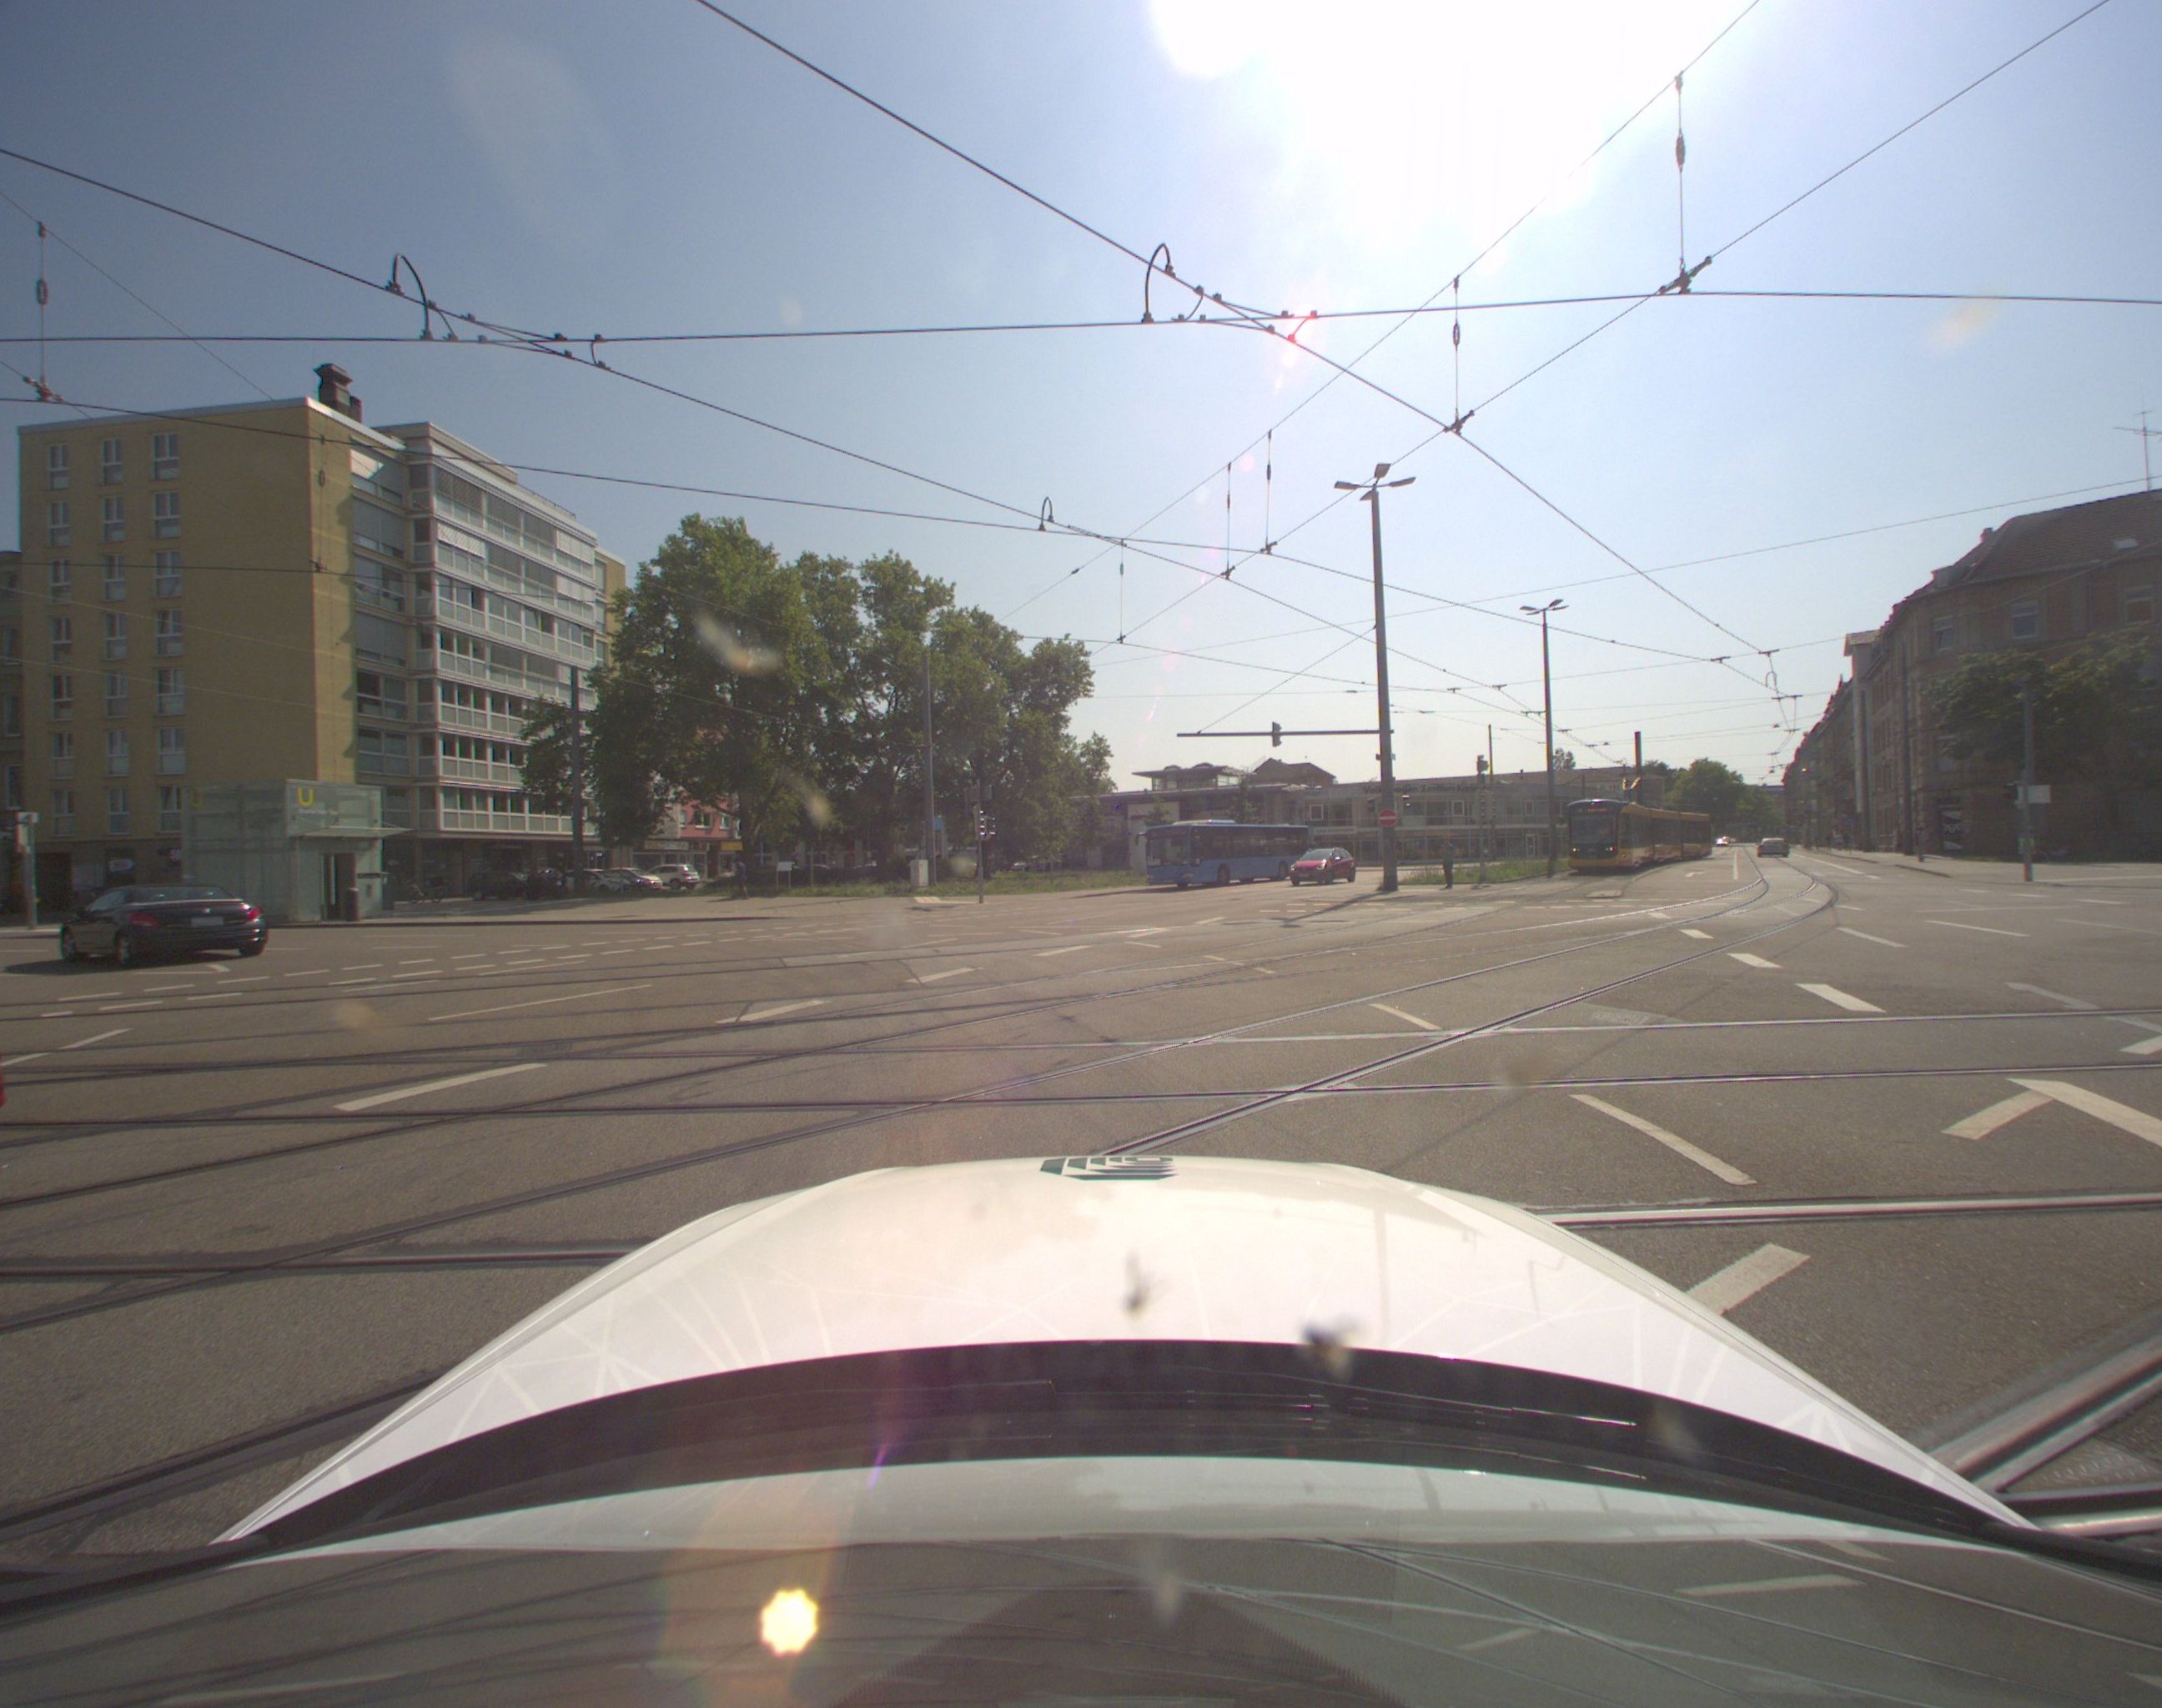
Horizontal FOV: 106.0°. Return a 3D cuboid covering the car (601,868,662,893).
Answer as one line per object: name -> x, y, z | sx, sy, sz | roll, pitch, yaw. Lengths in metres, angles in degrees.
car -> -28.152, 1.637, 51.039 | 3.073, 1.429, 1.405 | -2, 0, 5

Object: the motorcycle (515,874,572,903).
motorcycle -> -22.738, 1.453, 34.466 | 2.088, 1.137, 0.917 | -2, 0, 20

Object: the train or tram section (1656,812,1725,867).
train or tram section -> 43.693, -0.920, 58.184 | 2.563, 3.560, 12.290 | 0, 0, 43

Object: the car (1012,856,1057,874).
car -> -4.805, 1.137, 84.020 | 4.276, 1.753, 1.698 | -2, 0, -33

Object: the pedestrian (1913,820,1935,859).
pedestrian -> 43.974, -0.756, 42.507 | 0.642, 2.013, 0.708 | -2, 0, 36

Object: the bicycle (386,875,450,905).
bicycle -> -30.296, 1.646, 37.233 | 2.413, 1.238, 0.796 | -2, 0, 7

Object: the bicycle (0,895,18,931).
bicycle -> -40.548, 2.233, 30.253 | 1.775, 1.296, 0.476 | -3, 0, 9

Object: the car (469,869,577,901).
car -> -28.340, 1.569, 41.410 | 4.213, 1.470, 1.909 | -2, 0, 5

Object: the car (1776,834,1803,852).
car -> 63.061, -0.981, 72.554 | 1.495, 1.511, 3.647 | -2, 0, 36

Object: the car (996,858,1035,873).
car -> -7.030, 1.258, 87.582 | 1.974, 1.508, 4.026 | -2, 0, 38

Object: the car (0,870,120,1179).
car -> -6.182, 0.906, 2.790 | 1.766, 1.618, 4.058 | -2, 0, -17

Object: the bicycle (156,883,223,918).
bicycle -> -39.177, 2.010, 35.849 | 0.906, 1.404, 3.333 | -2, 0, -28

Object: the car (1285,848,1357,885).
car -> 10.429, 0.511, 35.213 | 1.609, 1.472, 3.796 | -2, 0, 40

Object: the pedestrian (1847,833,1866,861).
pedestrian -> 57.228, -0.519, 60.092 | 0.831, 2.013, 0.815 | 0, 0, 32

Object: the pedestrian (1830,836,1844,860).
pedestrian -> 64.633, -0.509, 69.634 | 0.783, 2.013, 0.815 | 0, 0, 32

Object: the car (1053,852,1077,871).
car -> -1.720, 0.810, 89.331 | 2.317, 2.013, 6.812 | 0, 0, 2

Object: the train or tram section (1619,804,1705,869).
train or tram section -> 35.662, -0.935, 49.713 | 2.563, 3.560, 12.290 | 0, 0, 43

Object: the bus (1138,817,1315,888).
bus -> 7.618, -0.129, 40.380 | 2.699, 3.064, 12.157 | -2, 0, 41

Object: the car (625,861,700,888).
car -> -27.521, 1.342, 53.621 | 4.041, 1.666, 1.793 | -2, 0, 5

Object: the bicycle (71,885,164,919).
bicycle -> -43.691, 2.191, 36.950 | 3.337, 1.404, 0.905 | -2, 0, 4

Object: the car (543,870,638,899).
car -> -27.856, 1.701, 46.309 | 4.213, 1.470, 1.909 | -2, 0, 5

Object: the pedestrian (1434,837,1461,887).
pedestrian -> 12.690, 0.285, 28.228 | 0.795, 1.687, 0.723 | -2, 0, 22

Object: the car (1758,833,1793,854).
car -> 53.208, -0.770, 62.459 | 1.715, 1.574, 3.635 | 0, 0, 35

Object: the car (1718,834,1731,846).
car -> 114.394, -2.479, 144.786 | 1.755, 2.013, 4.025 | -2, 0, 39

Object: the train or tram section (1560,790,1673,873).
train or tram section -> 26.777, -0.951, 40.349 | 2.563, 3.560, 12.290 | 0, 0, 43

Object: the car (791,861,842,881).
car -> -24.555, 1.551, 75.658 | 4.041, 1.666, 1.793 | -2, 0, 5

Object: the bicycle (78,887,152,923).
bicycle -> -42.288, 2.199, 35.705 | 0.906, 1.404, 3.333 | -2, 0, -28

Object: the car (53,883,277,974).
car -> -16.952, 1.282, 15.059 | 3.949, 1.431, 1.807 | -1, 0, 27

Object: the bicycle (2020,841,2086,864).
bicycle -> 41.873, -0.064, 35.105 | 1.765, 0.958, 0.465 | -2, 0, 34

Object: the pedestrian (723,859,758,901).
pedestrian -> -13.411, 1.014, 32.130 | 0.942, 1.609, 0.794 | -2, 0, 4
